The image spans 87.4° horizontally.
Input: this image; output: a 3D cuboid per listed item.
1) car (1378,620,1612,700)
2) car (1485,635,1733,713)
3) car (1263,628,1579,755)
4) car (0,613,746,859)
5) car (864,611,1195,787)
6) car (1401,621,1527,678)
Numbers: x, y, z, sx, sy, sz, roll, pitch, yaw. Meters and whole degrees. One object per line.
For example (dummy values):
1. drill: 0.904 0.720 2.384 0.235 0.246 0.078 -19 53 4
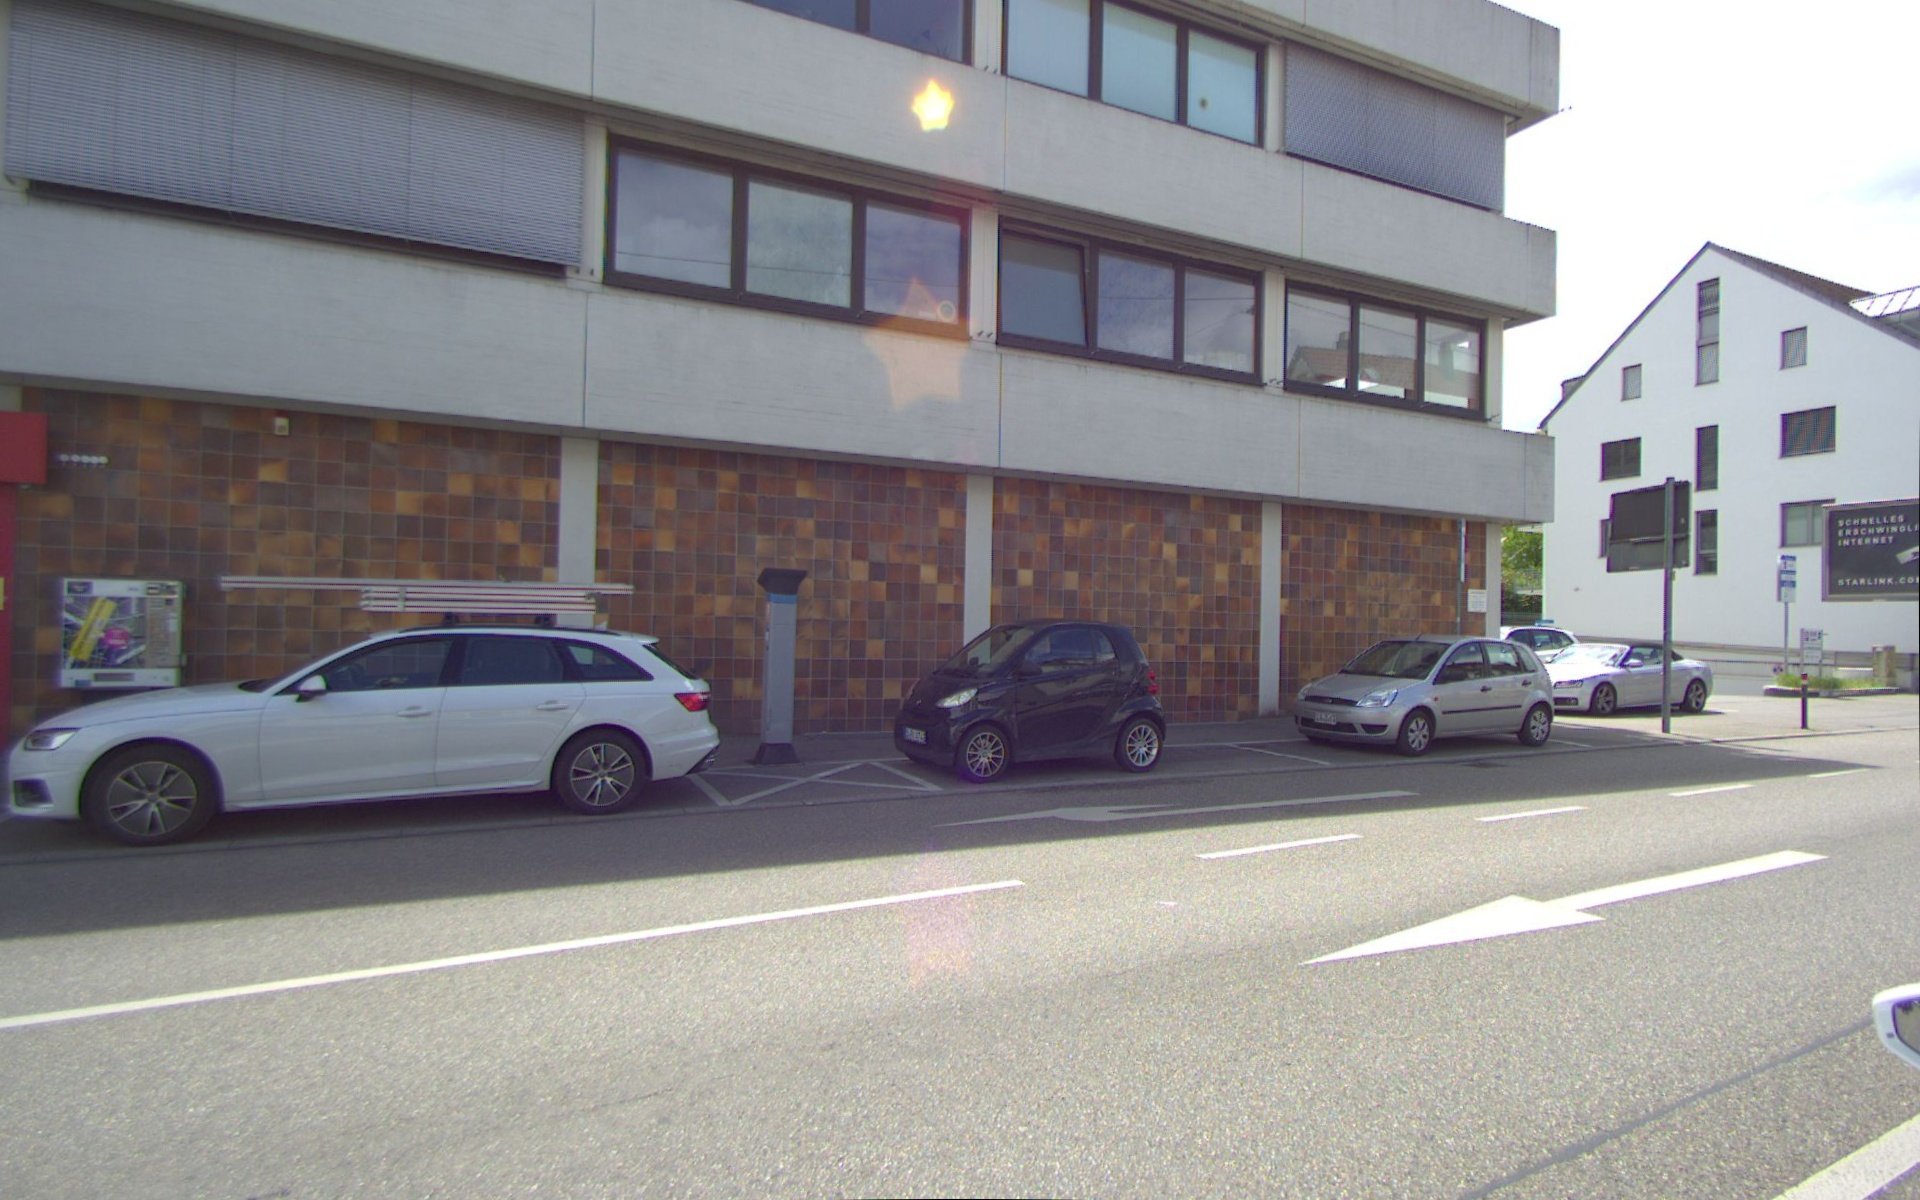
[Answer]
1. car: 11.909 1.317 22.351 4.859 1.640 1.947 1 -4 -23
2. car: 12.885 1.415 19.902 4.790 1.376 1.945 1 -2 -26
3. car: 6.233 1.144 13.521 4.095 1.441 1.716 1 0 -27
4. car: -4.375 0.892 8.009 4.887 1.463 2.037 1 0 -26
5. car: 0.710 0.939 10.573 3.016 1.576 1.731 1 0 -26
6. car: 18.804 1.827 37.435 4.587 2.015 1.832 1 -1 -26
